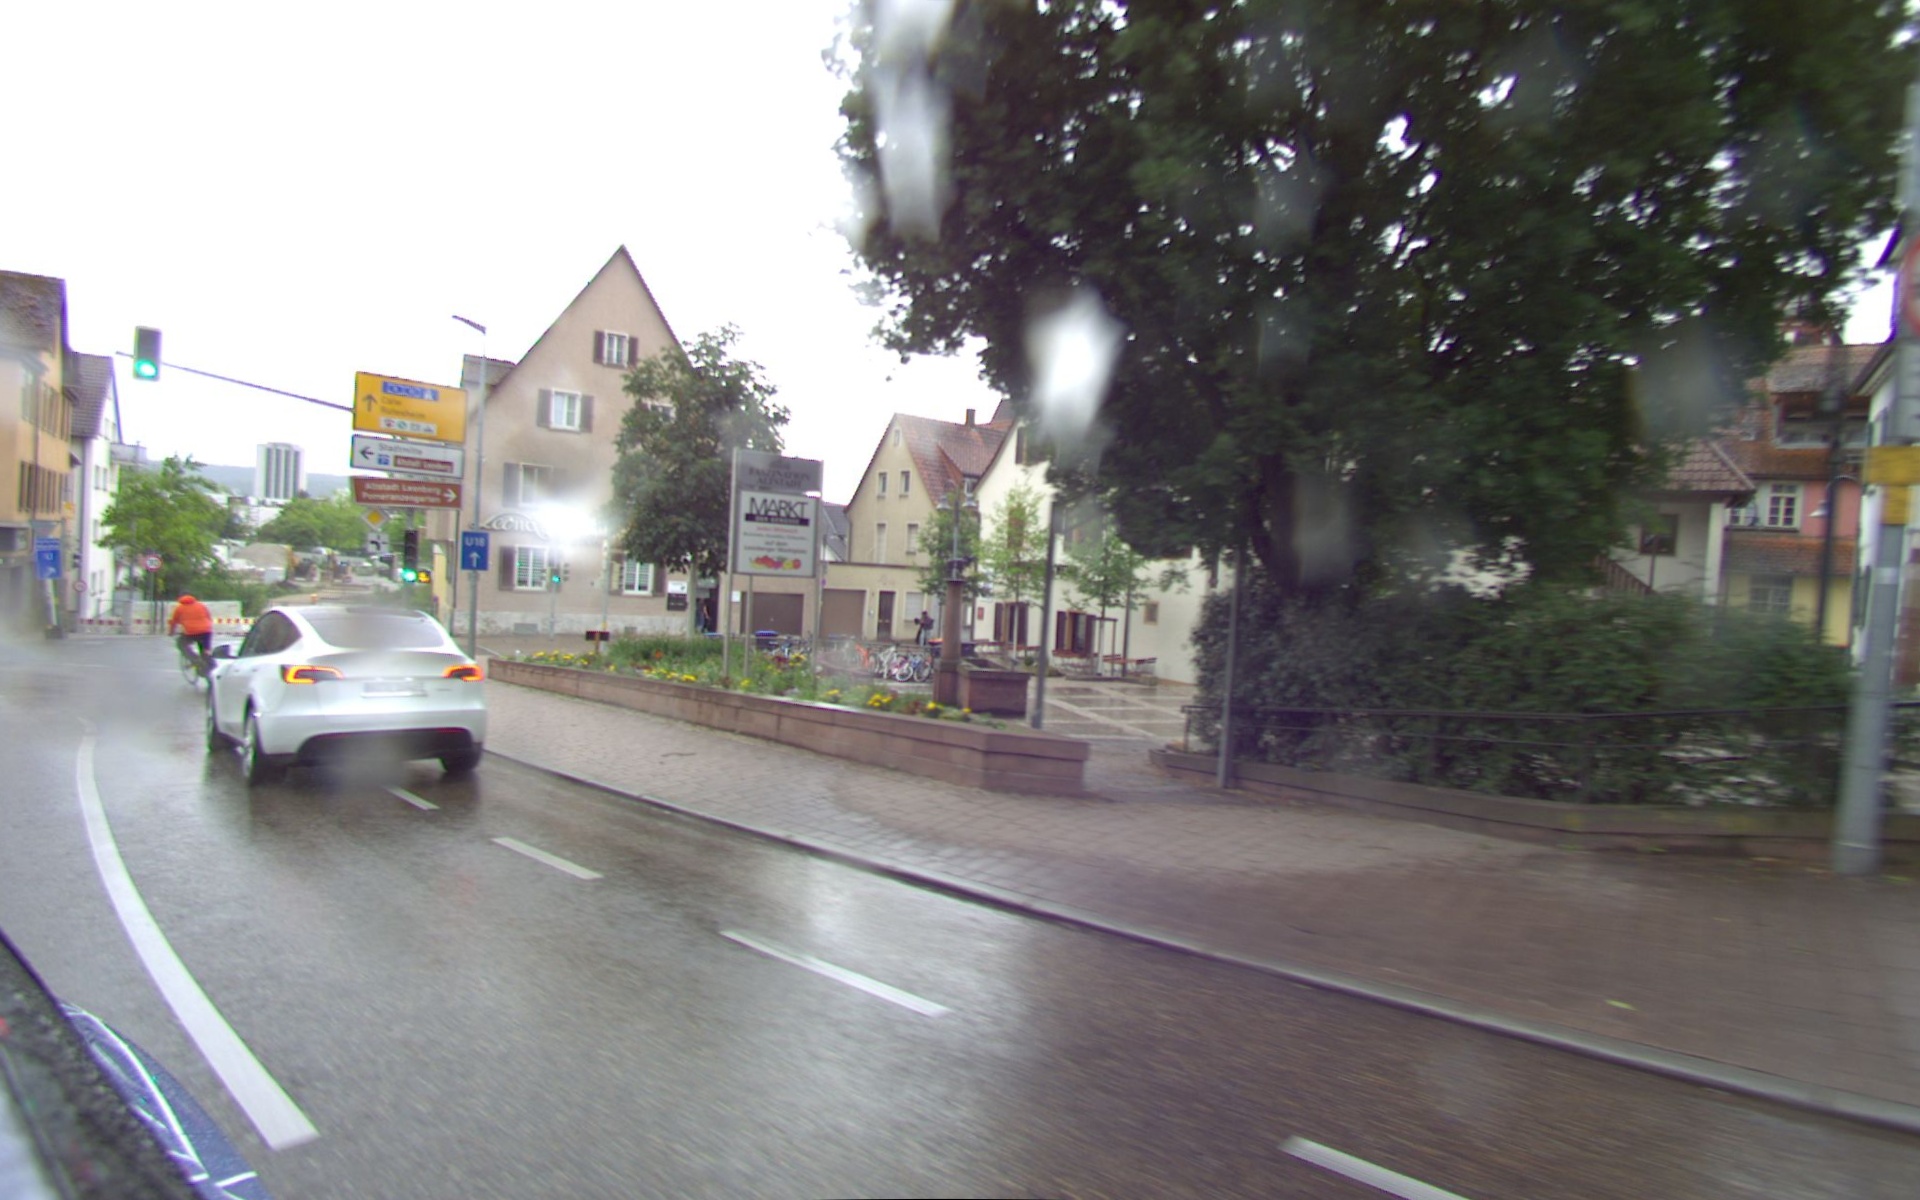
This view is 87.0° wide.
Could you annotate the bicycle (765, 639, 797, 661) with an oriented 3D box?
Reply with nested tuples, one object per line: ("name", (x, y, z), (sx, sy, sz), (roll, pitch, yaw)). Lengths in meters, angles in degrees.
("bicycle", (-5.152, 1.435, 29.120), (0.407, 0.610, 0.842), (-1, -2, 41))

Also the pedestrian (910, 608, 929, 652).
("pedestrian", (-1.889, 1.392, 47.279), (0.666, 2.029, 0.501), (2, -2, -37))

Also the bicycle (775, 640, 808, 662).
("bicycle", (-4.802, 1.461, 28.832), (0.407, 0.610, 0.842), (-1, -2, 41))

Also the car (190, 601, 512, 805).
("car", (-6.365, 0.888, 10.339), (1.939, 1.620, 4.388), (3, -3, -43))

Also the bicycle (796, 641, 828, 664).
("bicycle", (-4.129, 1.459, 28.259), (0.407, 0.610, 0.842), (-1, -2, 41))

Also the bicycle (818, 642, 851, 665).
("bicycle", (-3.431, 1.449, 27.683), (0.407, 0.610, 0.842), (-1, -2, 41))

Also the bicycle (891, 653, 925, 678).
("bicycle", (-1.328, 1.665, 25.856), (0.407, 0.610, 0.842), (-1, -2, 41))

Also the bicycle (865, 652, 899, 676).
("bicycle", (-2.040, 1.675, 26.479), (0.407, 0.610, 0.842), (-1, -2, 41))

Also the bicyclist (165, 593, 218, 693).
("bicyclist", (-15.351, 0.839, 20.219), (0.568, 1.948, 0.683), (-1, 0, 35))

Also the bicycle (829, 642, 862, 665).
("bicycle", (-3.095, 1.437, 27.392), (0.407, 0.610, 0.842), (-1, -2, 41))

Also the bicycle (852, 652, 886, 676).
("bicycle", (-2.402, 1.680, 26.811), (0.407, 0.610, 0.842), (-1, -2, 41))

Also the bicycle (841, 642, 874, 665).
("bicycle", (-2.746, 1.432, 27.103), (0.407, 0.610, 0.842), (-1, -2, 41))

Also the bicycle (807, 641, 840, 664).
("bicycle", (-3.777, 1.453, 27.964), (0.407, 0.610, 0.842), (-1, -2, 41))

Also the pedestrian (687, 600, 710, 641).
("pedestrian", (-11.113, 0.881, 42.989), (0.695, 1.723, 0.678), (2, -2, -35))

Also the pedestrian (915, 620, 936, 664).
("pedestrian", (-1.584, 1.926, 46.689), (0.665, 2.029, 0.708), (2, -2, -37))

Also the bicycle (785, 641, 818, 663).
("bicycle", (-4.469, 1.462, 28.554), (0.407, 0.610, 0.842), (-1, -2, 41))

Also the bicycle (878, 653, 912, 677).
("bicycle", (-1.681, 1.671, 26.124), (0.407, 0.610, 0.842), (-1, -2, 41))

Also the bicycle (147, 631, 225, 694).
("bicycle", (-15.601, 1.232, 20.383), (2.131, 1.190, 0.658), (-1, 0, 36))
